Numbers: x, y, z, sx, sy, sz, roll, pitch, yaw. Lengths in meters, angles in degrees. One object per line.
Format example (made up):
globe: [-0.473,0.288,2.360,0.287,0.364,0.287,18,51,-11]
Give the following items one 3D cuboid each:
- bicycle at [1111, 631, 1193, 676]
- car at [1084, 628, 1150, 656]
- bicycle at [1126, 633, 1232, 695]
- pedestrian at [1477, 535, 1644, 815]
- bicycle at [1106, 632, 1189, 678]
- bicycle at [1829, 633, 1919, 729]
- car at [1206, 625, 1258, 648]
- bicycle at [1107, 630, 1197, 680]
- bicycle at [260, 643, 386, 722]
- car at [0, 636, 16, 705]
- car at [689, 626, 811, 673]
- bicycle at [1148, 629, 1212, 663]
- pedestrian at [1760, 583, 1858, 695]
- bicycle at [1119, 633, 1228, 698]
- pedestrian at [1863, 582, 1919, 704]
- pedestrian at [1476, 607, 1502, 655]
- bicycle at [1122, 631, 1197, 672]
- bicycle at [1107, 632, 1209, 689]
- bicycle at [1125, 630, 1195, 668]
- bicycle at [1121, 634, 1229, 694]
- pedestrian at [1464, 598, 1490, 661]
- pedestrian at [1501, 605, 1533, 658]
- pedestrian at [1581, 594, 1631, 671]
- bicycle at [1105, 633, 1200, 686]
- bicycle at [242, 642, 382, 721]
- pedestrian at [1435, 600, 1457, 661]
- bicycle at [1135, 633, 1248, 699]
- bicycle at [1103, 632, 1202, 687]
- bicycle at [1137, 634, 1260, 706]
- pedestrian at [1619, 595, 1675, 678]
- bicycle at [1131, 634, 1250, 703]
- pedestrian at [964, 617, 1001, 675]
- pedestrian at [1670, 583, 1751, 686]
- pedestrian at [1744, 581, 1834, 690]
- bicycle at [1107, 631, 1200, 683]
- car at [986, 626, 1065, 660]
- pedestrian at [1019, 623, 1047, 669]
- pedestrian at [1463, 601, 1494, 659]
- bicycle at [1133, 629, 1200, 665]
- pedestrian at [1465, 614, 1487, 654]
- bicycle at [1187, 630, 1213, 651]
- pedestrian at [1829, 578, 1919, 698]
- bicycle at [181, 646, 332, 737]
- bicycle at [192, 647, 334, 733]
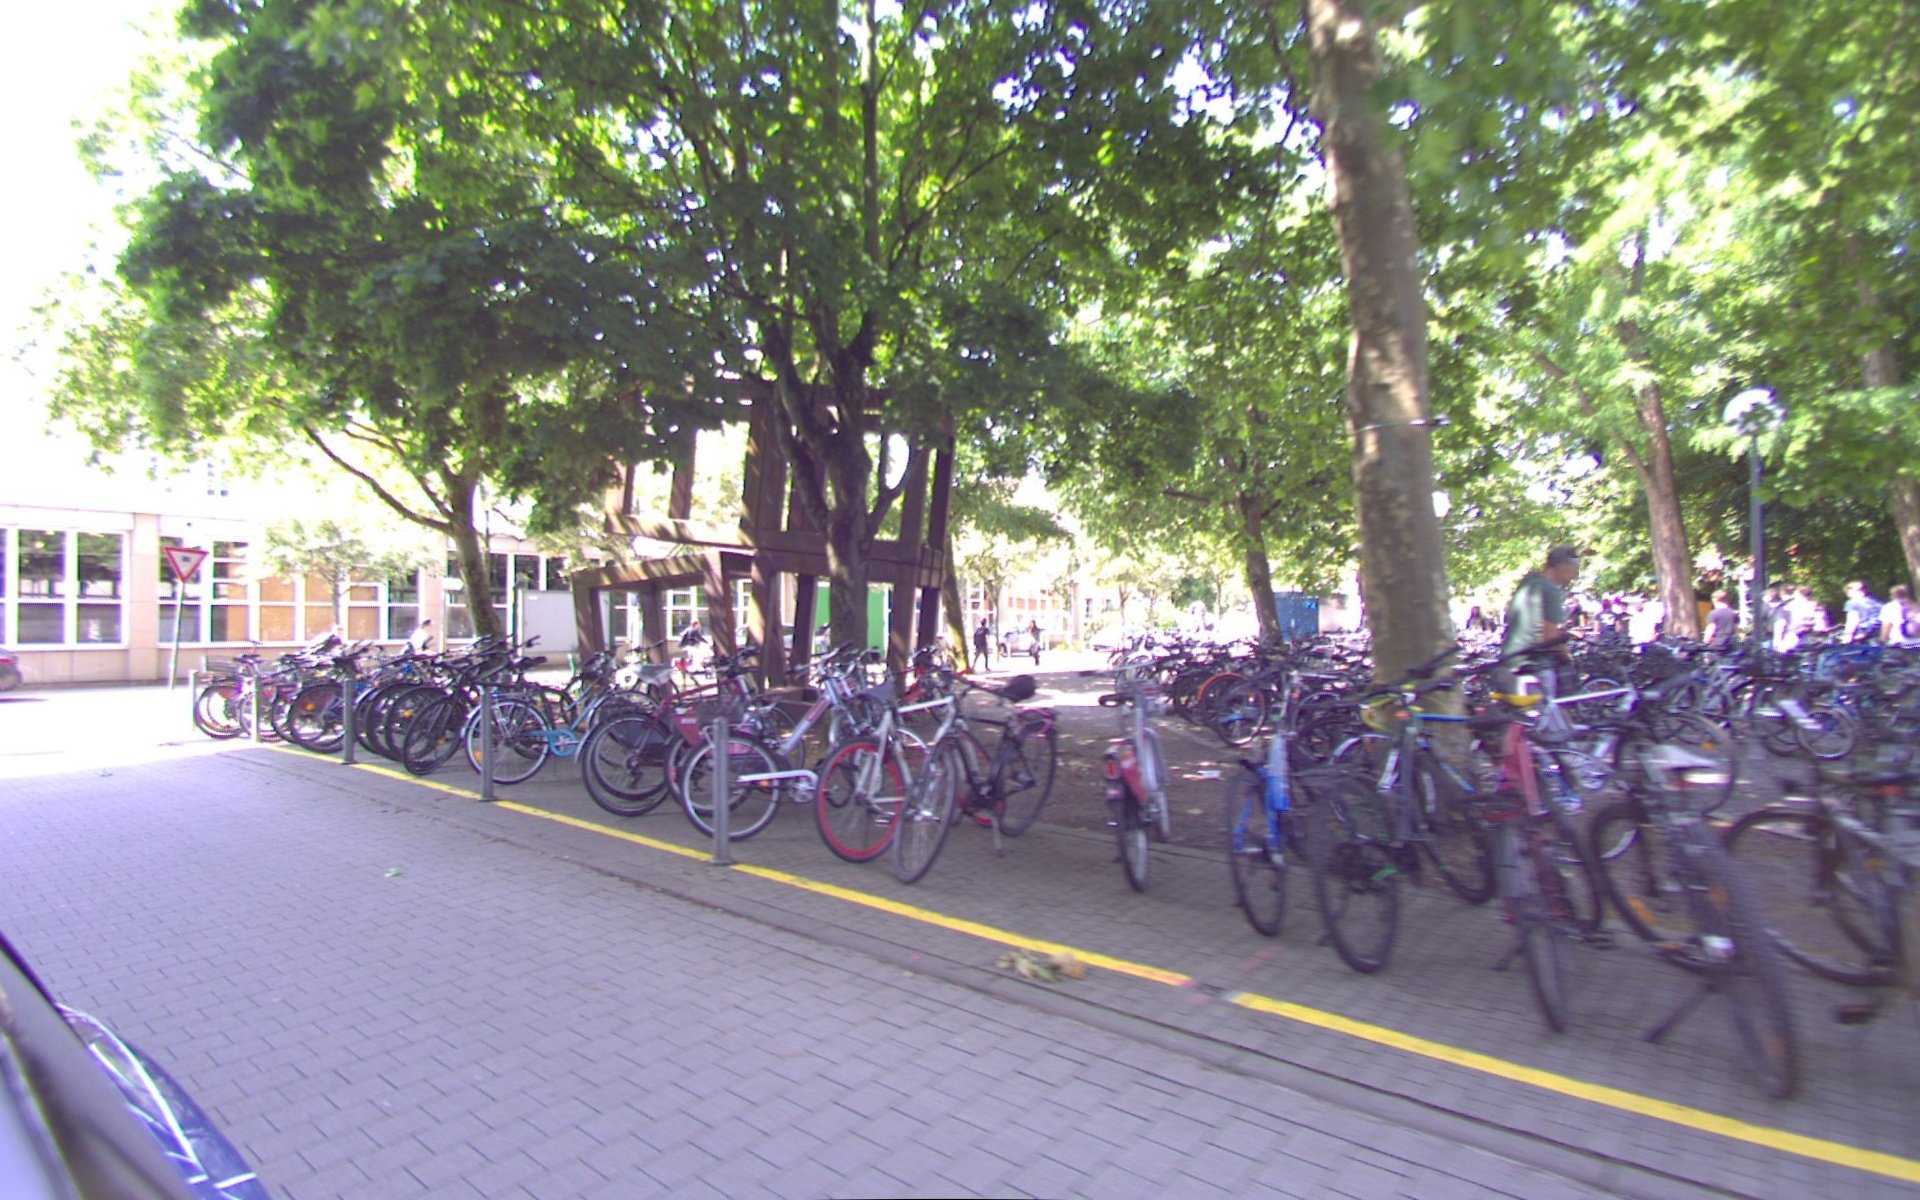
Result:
bicycle: [4.887,1.371,25.795,2.011,1.116,0.500,-1,-1,14]
car: [9.216,2.415,59.245,1.836,1.553,4.480,-2,-2,38]
bicycle: [4.047,1.193,18.832,1.886,1.116,0.501,-1,-1,11]
pedestrian: [4.129,0.495,7.018,0.701,1.820,0.768,-1,-1,8]
bicycle: [4.684,1.375,25.292,2.011,1.116,0.500,-1,-1,14]
bicycle: [10.207,0.833,10.617,1.716,0.969,0.452,-1,-1,2]
car: [18.769,2.488,69.675,1.836,1.553,4.480,-2,-2,38]
bicycle: [4.433,1.271,23.494,2.007,1.116,0.501,-1,-1,9]
bicycle: [-10.097,1.293,16.103,1.601,1.168,0.641,-1,-3,-21]
car: [-22.991,1.567,21.482,1.652,1.487,4.155,0,0,40]
car: [-8.042,1.865,39.066,1.836,1.630,4.480,0,-1,39]
bicycle: [7.399,1.549,34.075,2.017,1.116,0.499,-1,-1,22]
pedestrian: [13.356,0.604,15.944,0.761,1.692,0.905,-1,-1,7]
bicycle: [3.829,1.172,18.224,1.886,1.116,0.501,-1,-1,11]
pedestrian: [13.690,0.597,14.453,0.761,1.692,0.905,-1,-1,7]
pedestrian: [20.257,1.175,38.744,0.765,1.788,0.900,-1,-1,23]
bicycle: [5.537,1.431,28.034,2.011,1.116,0.500,-1,-1,14]
bicycle: [4.003,1.231,20.497,1.984,1.116,0.501,-1,-1,11]
bicycle: [6.010,1.479,30.423,2.011,1.116,0.500,-1,-1,14]
bicycle: [4.099,1.215,19.371,1.984,1.116,0.501,-1,-1,11]
pedestrian: [15.016,0.850,29.399,0.607,1.788,0.652,-2,-1,30]
pedestrian: [19.173,1.076,34.830,0.769,1.788,0.895,-2,-1,41]
pedestrian: [15.420,0.769,24.178,0.763,1.788,0.902,-1,-1,18]
bicycle: [4.147,1.285,21.843,1.984,1.116,0.501,-1,-1,11]
bicycle: [-9.897,1.232,15.515,1.716,1.116,0.592,-1,-3,-20]
pedestrian: [14.328,0.889,29.820,0.501,1.784,0.664,-2,-1,31]
bicycle: [4.015,1.147,17.637,1.886,1.116,0.501,-1,-1,11]
bicycle: [4.032,1.254,21.260,1.984,1.116,0.501,-1,-1,11]
bicycle: [3.851,1.133,16.429,1.884,1.116,0.501,-1,-1,8]
pedestrian: [15.147,0.787,22.328,0.764,1.788,0.901,-1,-1,19]
bicycle: [3.844,1.141,16.977,1.884,1.116,0.501,-1,-1,8]
pedestrian: [0.683,1.379,30.559,0.727,1.697,0.863,-2,-2,37]
pedestrian: [13.378,0.602,18.074,0.761,1.788,0.905,-1,-1,7]
pedestrian: [14.058,0.590,17.194,0.761,1.788,0.905,-1,-1,7]
bicycle: [4.343,1.283,22.831,2.007,1.116,0.501,-1,-1,9]
car: [3.411,2.183,52.210,1.836,1.646,4.480,-2,-2,38]
pedestrian: [2.519,1.583,34.916,0.571,1.531,0.829,-2,-1,43]
pedestrian: [16.202,0.931,31.649,0.765,1.788,0.900,-1,-1,23]
bicycle: [6.491,1.484,31.831,2.011,1.116,0.500,-1,-1,14]
pedestrian: [23.357,1.532,45.806,0.765,1.816,0.900,-1,-1,23]
bicycle: [13.138,2.199,55.352,0.604,1.116,2.046,-3,-3,38]
pedestrian: [14.241,0.579,15.683,0.761,1.788,0.905,-1,-1,7]
bicycle: [-9.485,1.212,13.698,0.496,1.116,1.608,-4,-3,40]
bicycle: [-9.965,1.266,14.512,0.496,1.116,1.608,-4,-3,40]
